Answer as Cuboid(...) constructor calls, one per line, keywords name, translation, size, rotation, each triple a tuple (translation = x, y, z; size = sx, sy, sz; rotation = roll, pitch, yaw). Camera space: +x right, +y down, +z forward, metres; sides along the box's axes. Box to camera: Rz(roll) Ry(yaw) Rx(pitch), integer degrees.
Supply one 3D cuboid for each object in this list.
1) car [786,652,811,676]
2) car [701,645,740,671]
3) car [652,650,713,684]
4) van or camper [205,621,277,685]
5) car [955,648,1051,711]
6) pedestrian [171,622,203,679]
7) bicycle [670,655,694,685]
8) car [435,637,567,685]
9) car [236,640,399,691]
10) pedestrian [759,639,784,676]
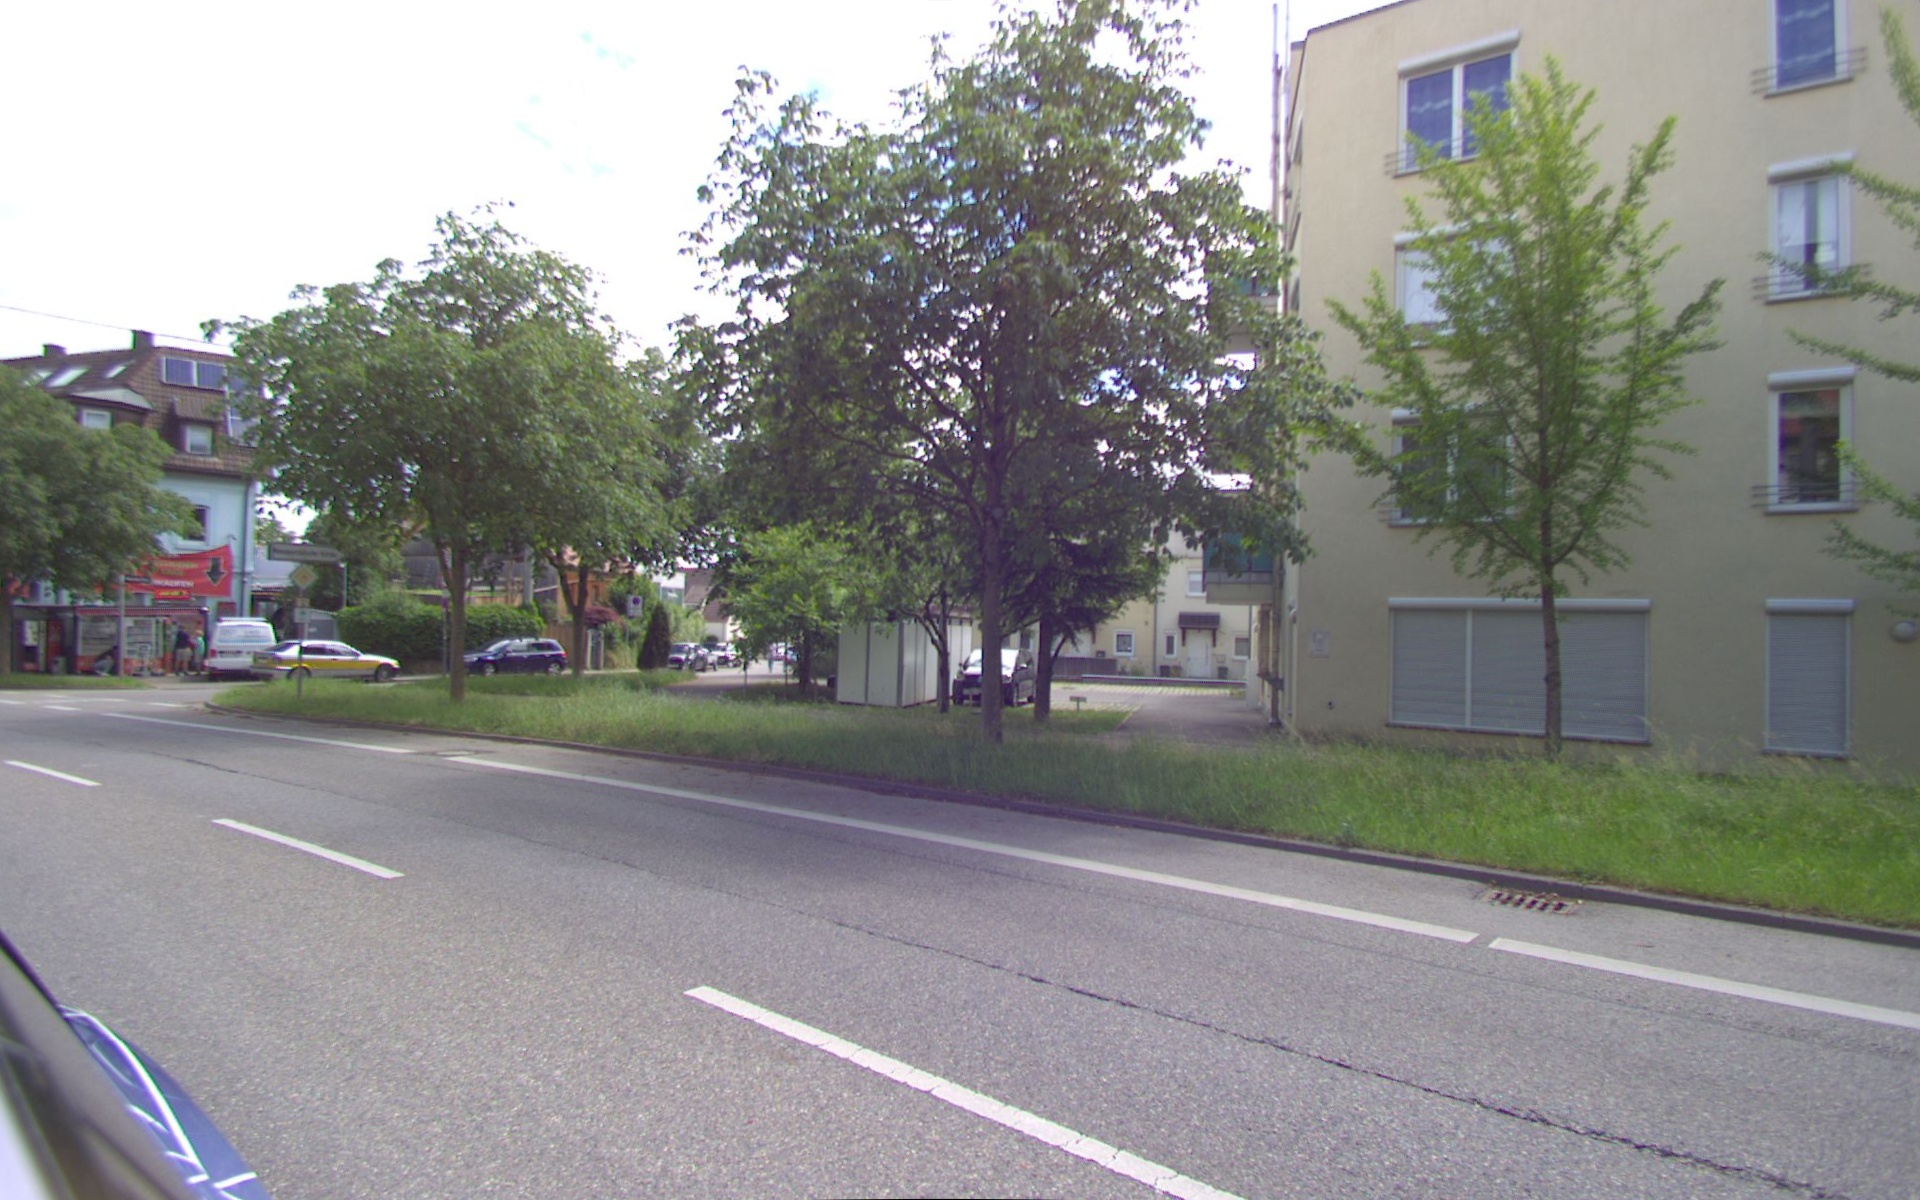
Cuboid(name="car", translation=(-12.300, 4.858, 77.132), size=(1.570, 1.570, 3.632), rotation=(2, -1, -5))
Cuboid(name="car", translation=(-14.344, 3.443, 60.755), size=(1.570, 1.332, 3.780), rotation=(2, -1, -3))
Cuboid(name="car", translation=(-12.978, 3.129, 47.560), size=(1.573, 1.332, 3.772), rotation=(2, -1, 4))
Cuboid(name="van or camper", translation=(-24.412, 1.740, 34.301), size=(1.761, 2.009, 4.389), rotation=(3, -2, -37))
Cuboid(name="car", translation=(1.169, 2.008, 25.944), size=(1.422, 1.461, 3.373), rotation=(0, -4, 21))
Cuboid(name="pedestrian", translation=(-26.598, 1.732, 34.819), size=(0.558, 1.910, 0.624), rotation=(1, -1, 5))
Cuboid(name="bicycle", translation=(-9.252, 2.325, 33.742), size=(0.457, 0.866, 2.229), rotation=(1, -1, -7))
Cuboid(name="car", translation=(-16.527, 2.157, 36.566), size=(1.811, 1.560, 3.955), rotation=(1, -1, 34))
Cuboid(name="car", translation=(-20.413, 2.033, 32.313), size=(1.808, 1.424, 3.990), rotation=(1, -1, 29))
Cuboid(name="pedestrian", translation=(-8.524, 2.615, 45.782), size=(0.811, 1.607, 0.728), rotation=(-6, -5, 31))
